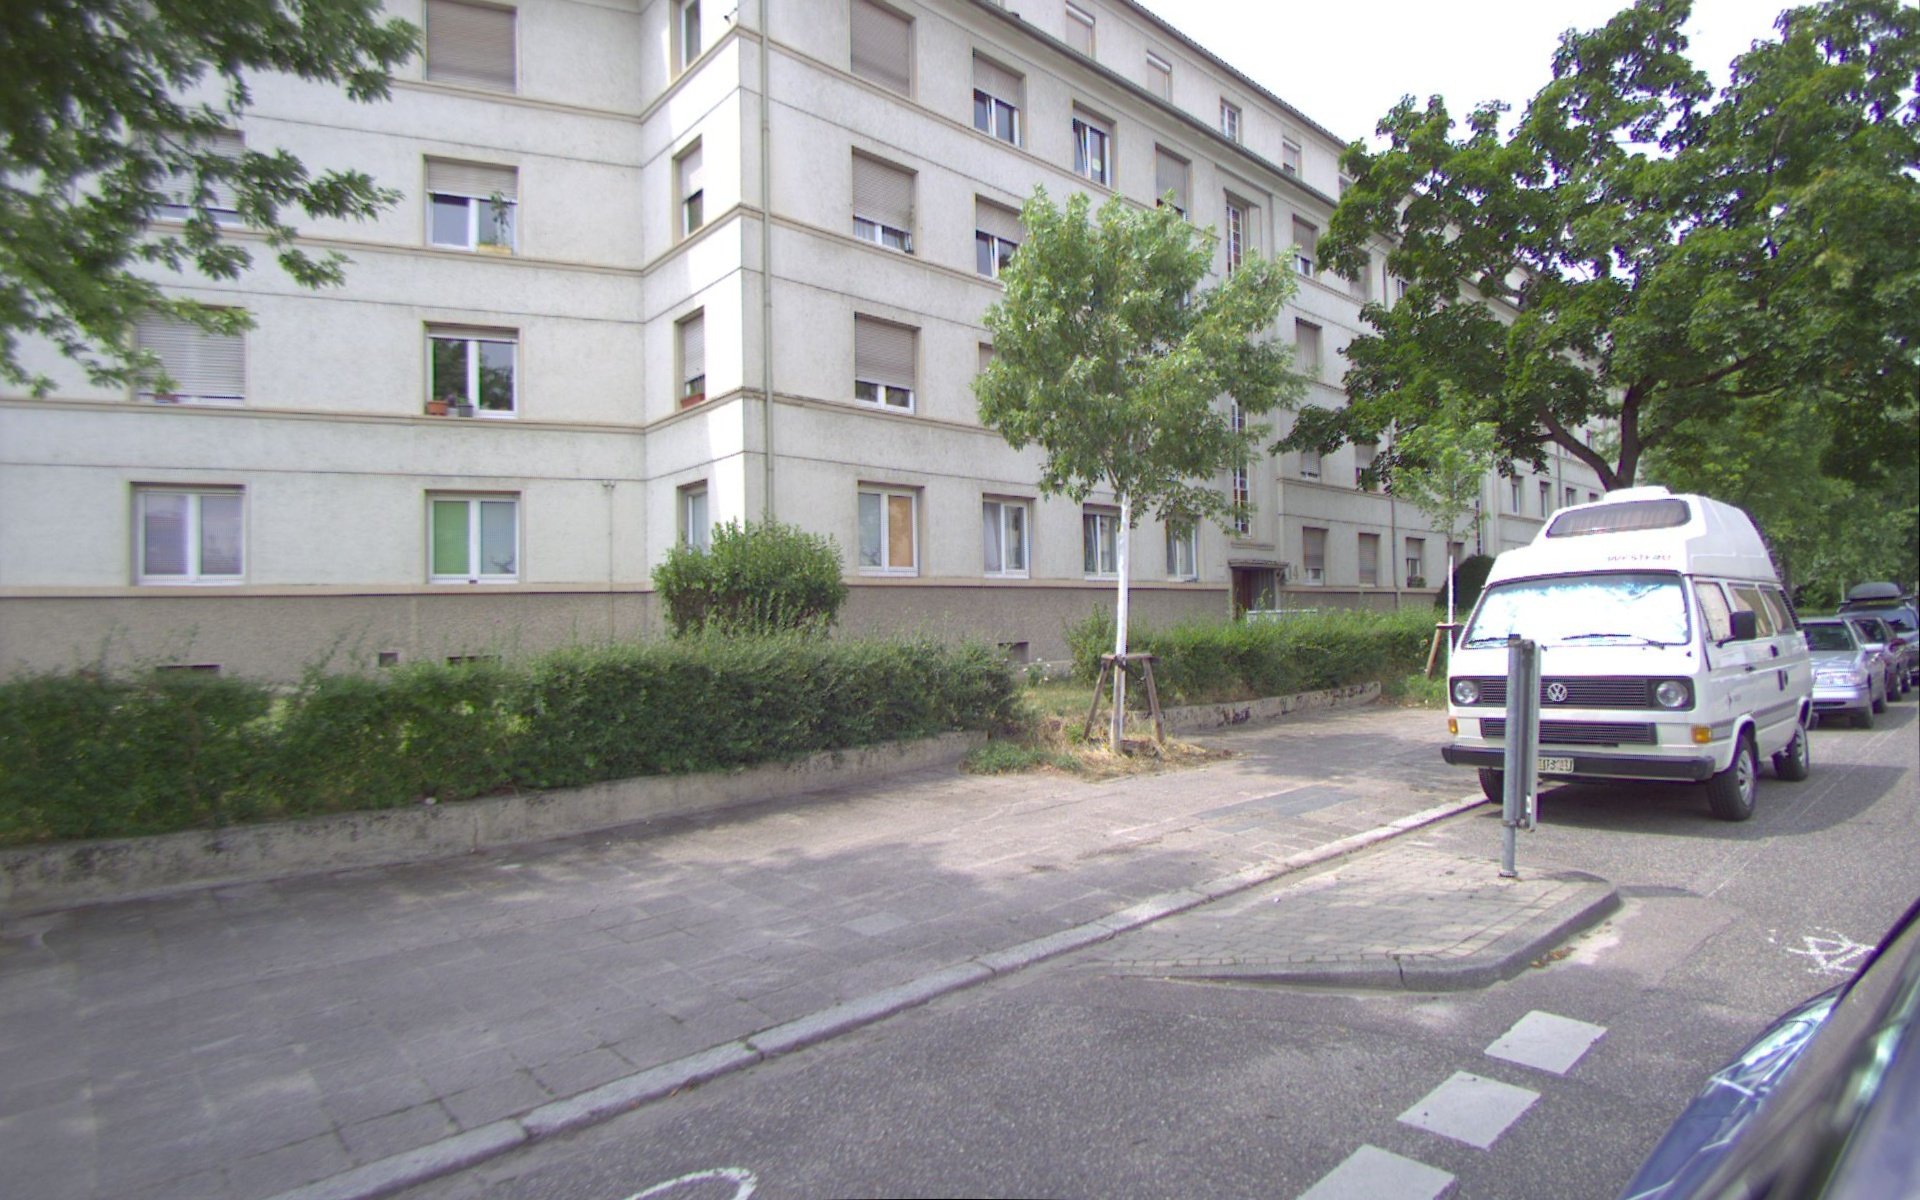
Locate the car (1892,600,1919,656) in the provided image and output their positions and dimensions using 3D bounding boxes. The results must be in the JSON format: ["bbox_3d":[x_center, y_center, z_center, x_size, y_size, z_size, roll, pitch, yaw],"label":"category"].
[{"bbox_3d":[26.814,0.738,27.549,3.719,1.418,1.675,-1,0,-41],"label":"car"}]

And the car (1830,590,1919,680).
[{"bbox_3d":[19.422,0.647,20.985,4.201,1.697,1.673,-1,0,-44],"label":"car"}]

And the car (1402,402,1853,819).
[{"bbox_3d":[5.923,0.082,8.700,4.821,2.636,1.897,-1,-4,-42],"label":"car"}]

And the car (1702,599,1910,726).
[{"bbox_3d":[11.968,0.787,14.198,4.567,1.469,1.672,-1,-3,-44],"label":"car"}]

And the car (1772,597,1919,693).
[{"bbox_3d":[15.604,0.752,17.652,3.722,1.473,1.672,-1,-4,-44],"label":"car"}]

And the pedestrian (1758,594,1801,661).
[{"bbox_3d":[23.025,0.759,28.423,0.750,1.827,0.807,-1,0,-42],"label":"pedestrian"}]
